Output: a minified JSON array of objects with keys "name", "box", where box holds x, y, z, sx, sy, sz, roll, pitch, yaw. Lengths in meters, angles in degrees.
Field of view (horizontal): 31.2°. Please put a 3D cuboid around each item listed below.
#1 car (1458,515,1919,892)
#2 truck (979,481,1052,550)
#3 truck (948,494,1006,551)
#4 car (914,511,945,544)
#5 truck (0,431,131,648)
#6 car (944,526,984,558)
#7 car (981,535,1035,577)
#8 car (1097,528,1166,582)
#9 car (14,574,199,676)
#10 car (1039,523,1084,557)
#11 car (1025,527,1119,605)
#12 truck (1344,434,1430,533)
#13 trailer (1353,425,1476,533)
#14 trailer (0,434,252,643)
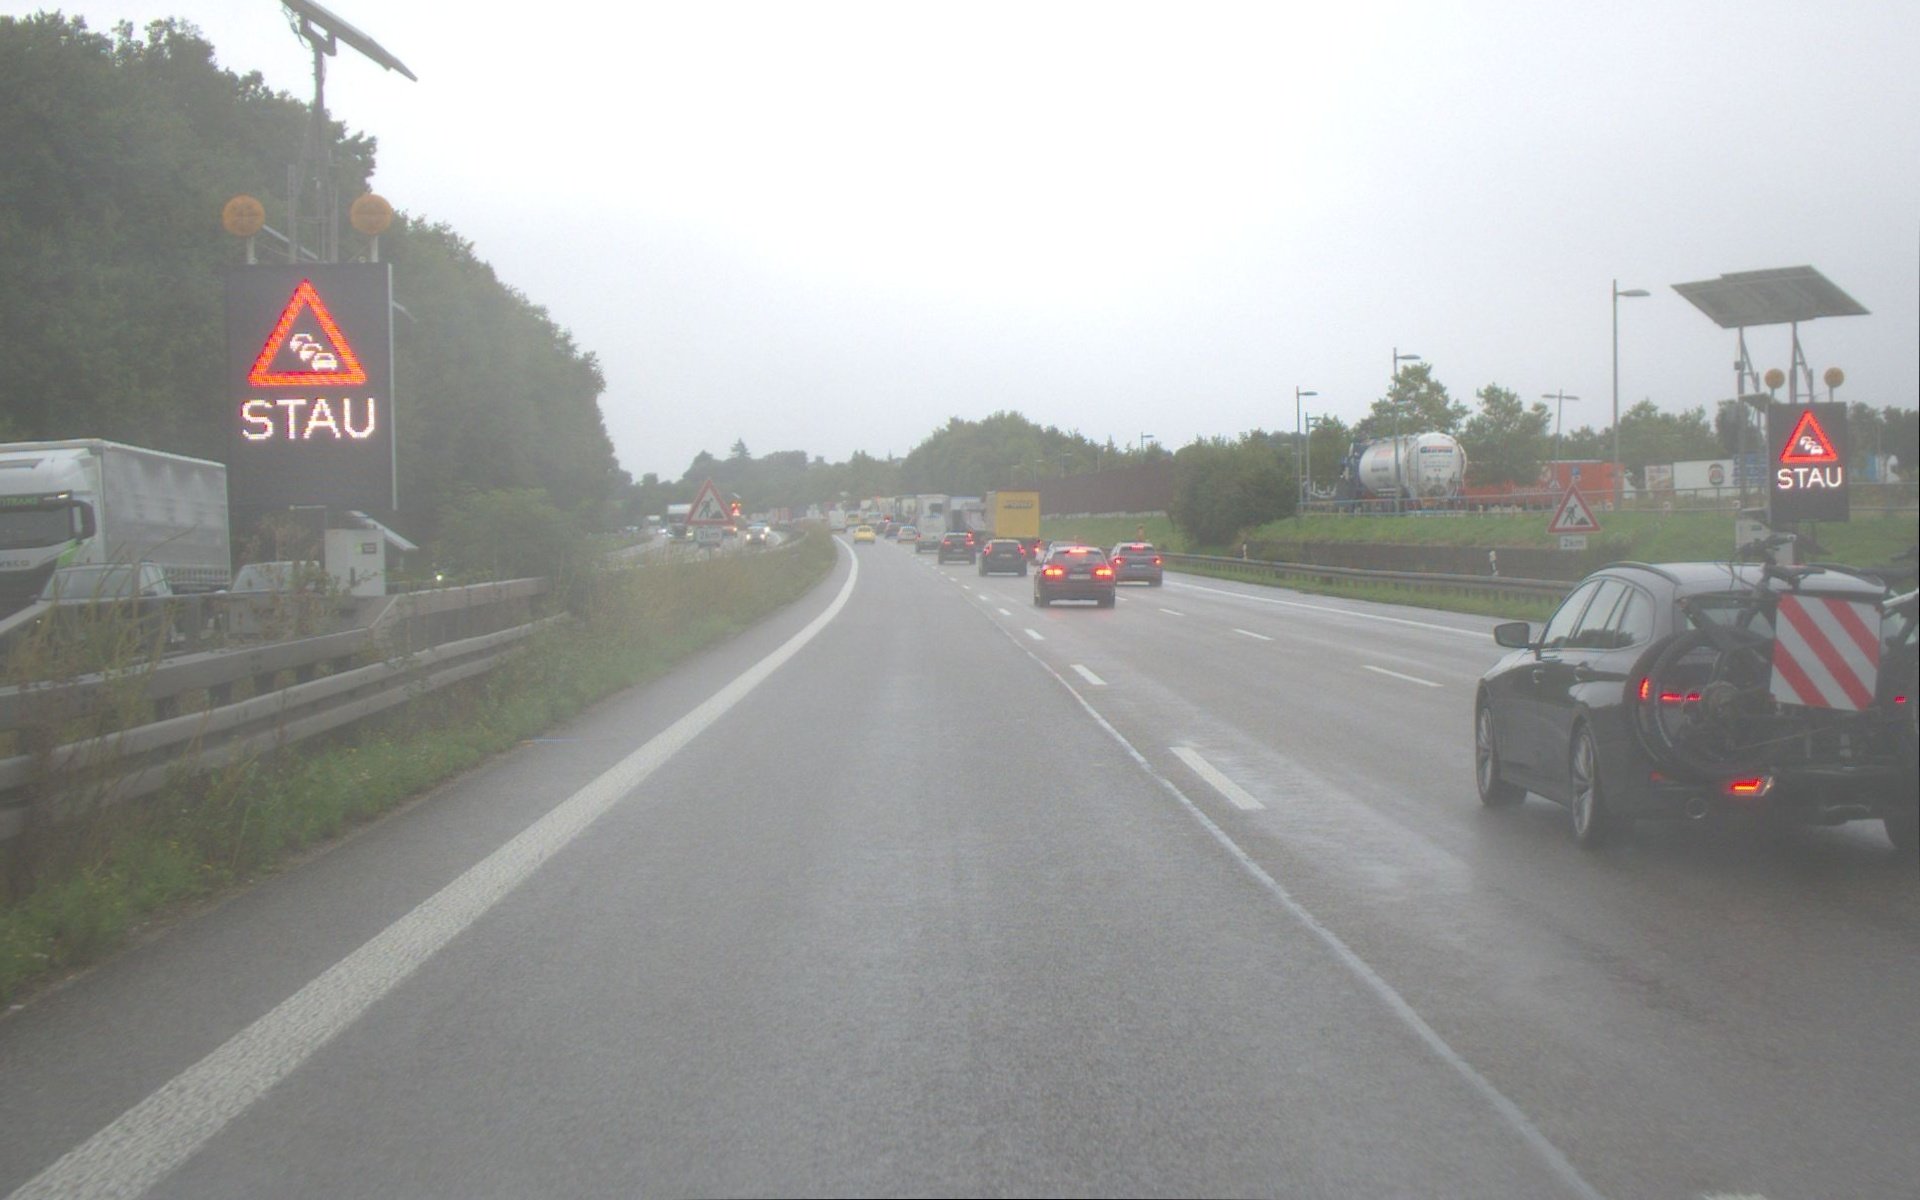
[{"name":"car","box":[4.053,0.458,18.018,2.057,1.666,5.522,0,0,0]},{"name":"truck","box":[3.277,-5.062,207.726,3.924,3.968,12.240,-1,1,-1]},{"name":"truck","box":[1.208,-5.640,252.048,3.924,3.968,12.240,-1,1,-1]},{"name":"car","box":[-2.078,-4.935,233.802,1.993,2.197,4.000,-1,1,-1]},{"name":"truck","box":[-18.562,-1.224,69.378,2.643,4.222,4.000,-1,1,-1]},{"name":"car","box":[0.208,-3.029,179.033,1.993,1.623,4.000,-1,1,-1]},{"name":"car","box":[1.911,-1.804,138.628,1.993,1.623,4.000,-1,1,-1]},{"name":"car","box":[5.761,-1.521,115.794,1.993,1.755,4.000,-1,1,-1]},{"name":"car","box":[-13.812,0.369,55.872,1.874,1.488,4.514,-2,1,0]},{"name":"car","box":[4.937,-2.933,168.013,1.993,1.623,4.000,-1,1,-1]},{"name":"car","box":[2.628,-0.823,81.747,1.993,1.755,4.000,-1,1,-1]},{"name":"truck","box":[18.418,-4.996,148.461,2.949,4.131,4.922,-1,1,-1]},{"name":"trailer","box":[18.547,-4.882,141.219,2.985,4.142,12.957,-1,1,-1]},{"name":"trailer","box":[-18.630,-1.396,77.172,2.643,4.222,13.912,-1,1,-1]}]
